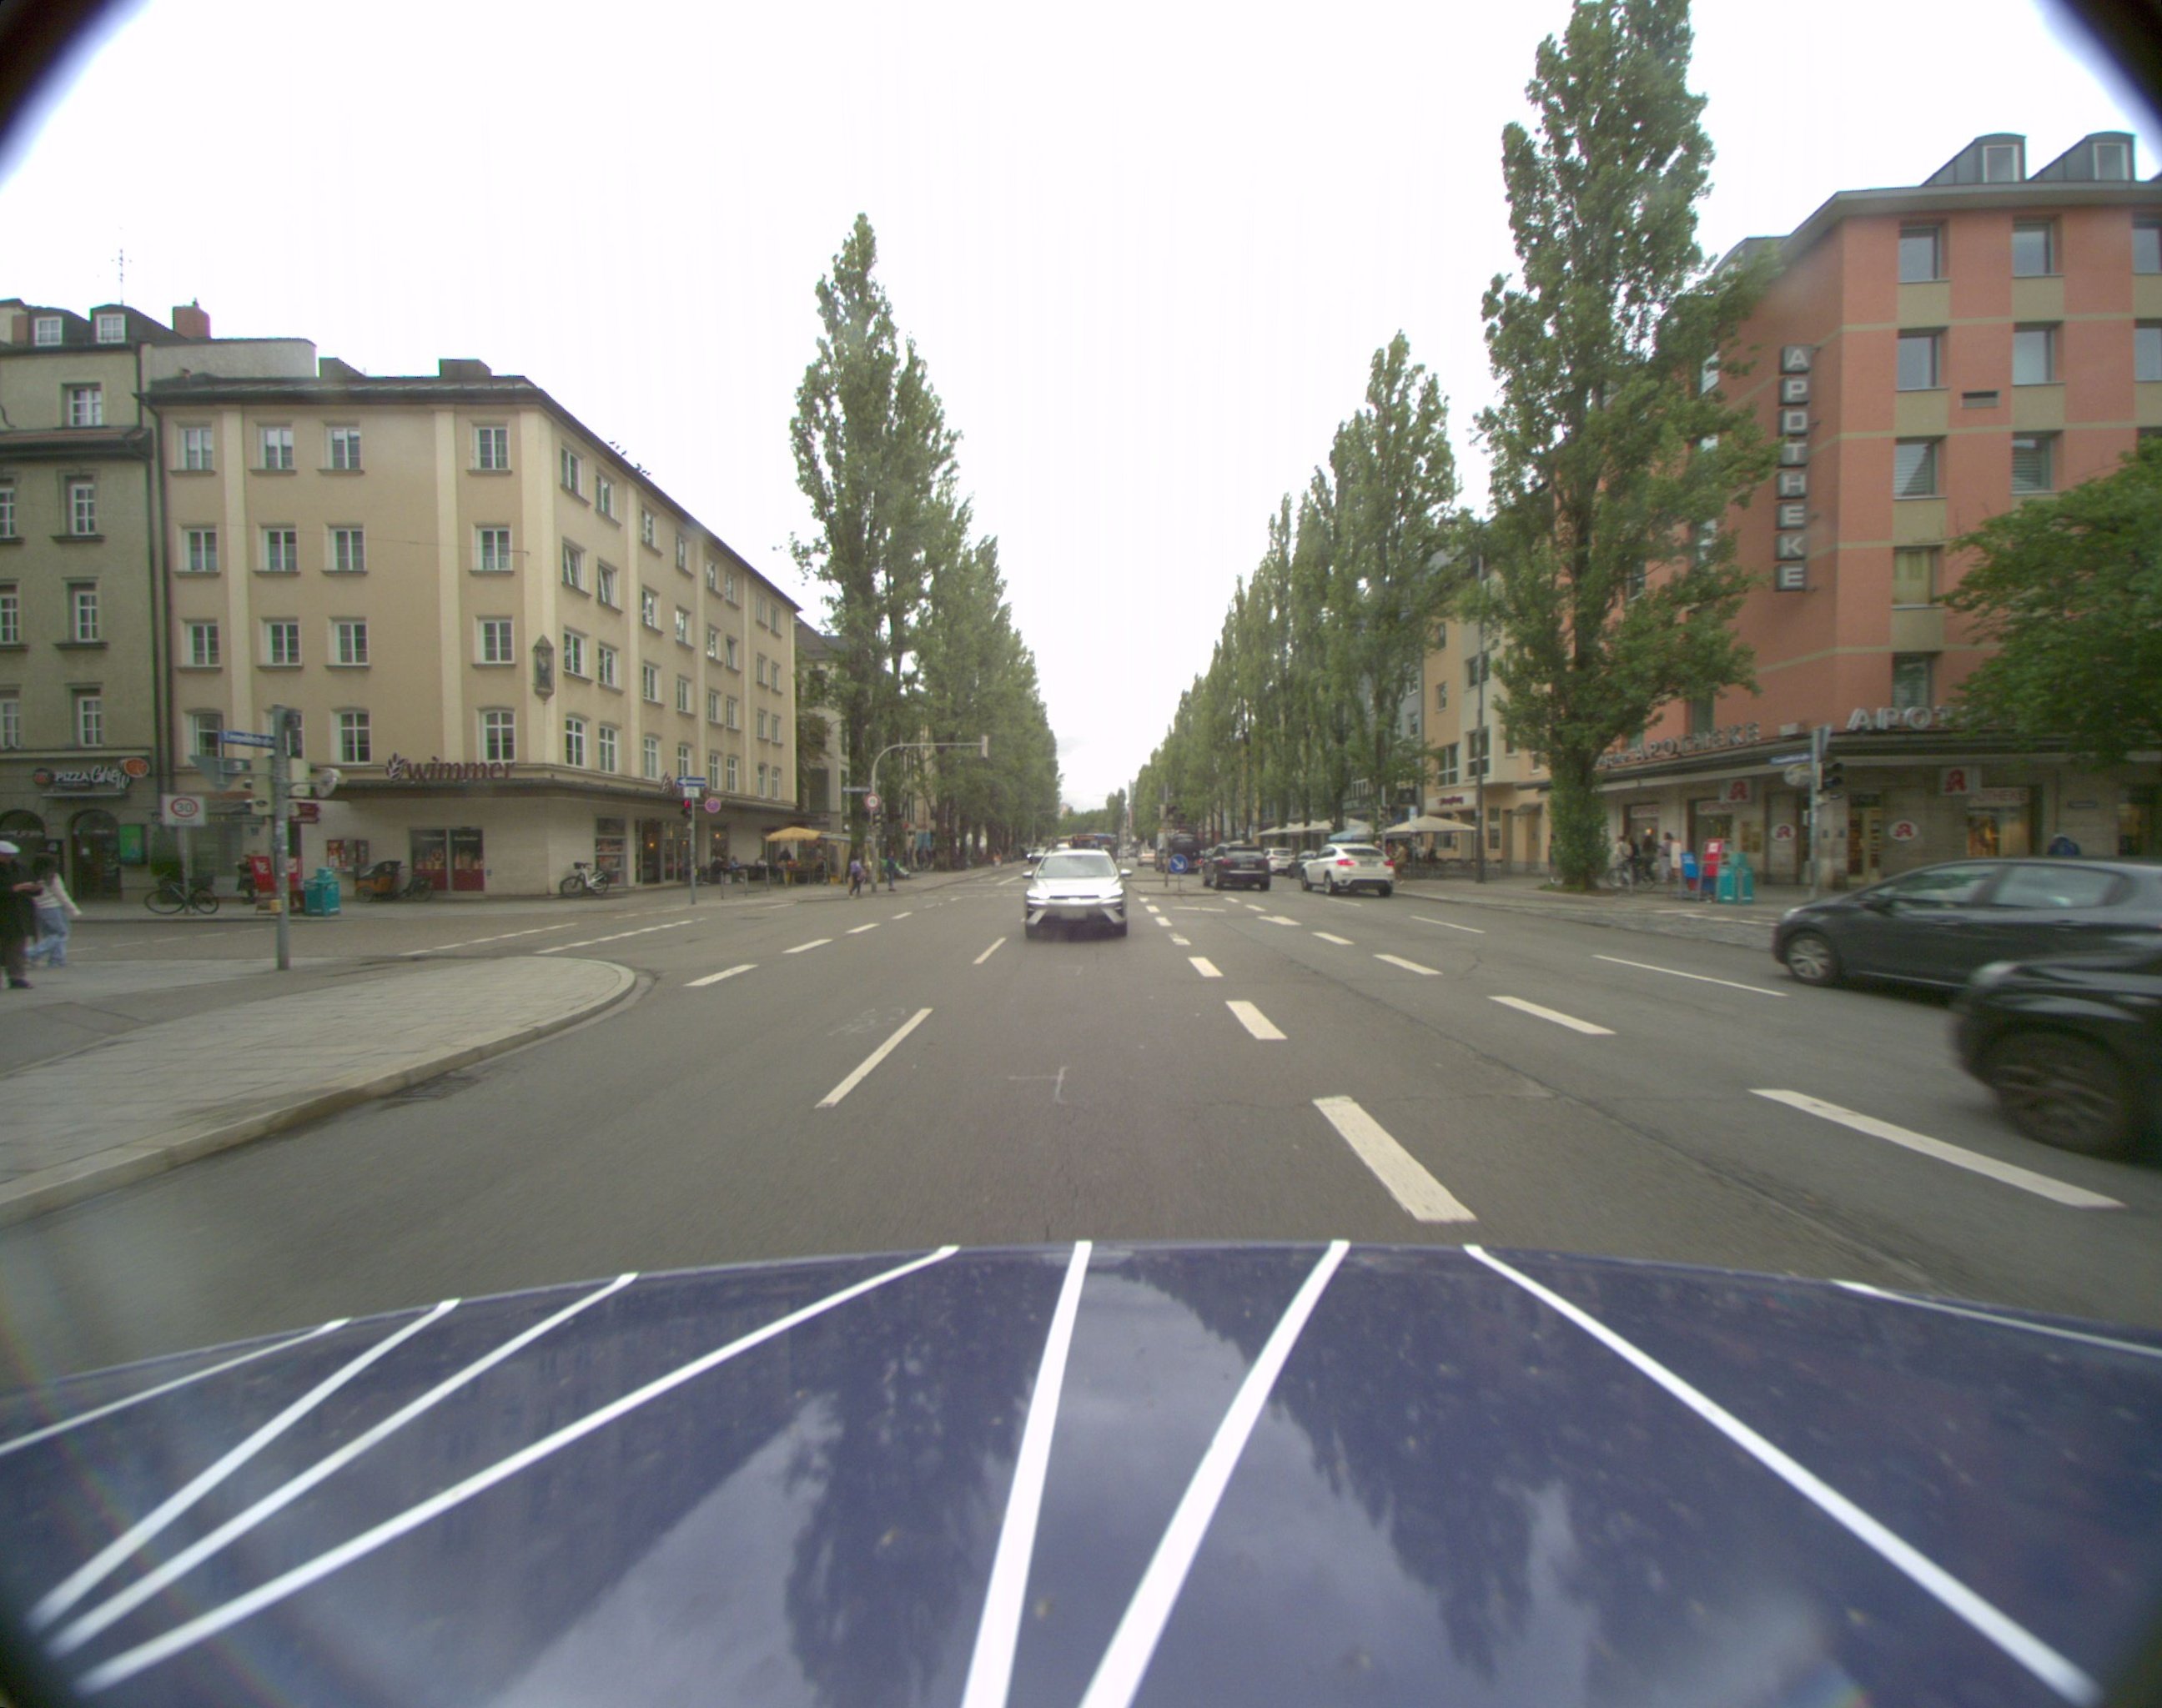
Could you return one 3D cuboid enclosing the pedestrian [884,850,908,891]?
[{"bbox_3d":[-7.317,0.628,30.131,0.767,1.600,0.864,-1,1,-3],"label":"pedestrian"}]

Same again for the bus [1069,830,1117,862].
[{"bbox_3d":[1.402,-0.778,73.798,2.804,2.887,12.865,0,1,9],"label":"bus"}]

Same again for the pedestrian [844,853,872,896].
[{"bbox_3d":[-8.054,0.721,27.458,0.766,1.509,0.620,2,4,45],"label":"pedestrian"}]

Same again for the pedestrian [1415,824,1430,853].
[{"bbox_3d":[19.930,-0.900,44.365,0.556,1.629,0.692,-1,1,0],"label":"pedestrian"}]

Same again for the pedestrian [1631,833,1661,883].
[{"bbox_3d":[19.479,0.135,26.185,0.631,1.679,0.519,-2,2,2],"label":"pedestrian"}]

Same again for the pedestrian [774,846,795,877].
[{"bbox_3d":[-15.517,0.380,39.749,0.777,1.580,0.699,-1,1,1],"label":"pedestrian"}]

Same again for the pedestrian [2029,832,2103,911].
[{"bbox_3d":[22.561,0.396,17.418,0.780,1.757,0.692,-1,1,1],"label":"pedestrian"}]

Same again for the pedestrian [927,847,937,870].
[{"bbox_3d":[-12.922,0.405,65.850,0.658,1.960,0.722,0,1,3],"label":"pedestrian"}]

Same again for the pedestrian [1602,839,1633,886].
[{"bbox_3d":[18.217,0.278,25.821,0.658,1.574,0.548,-1,1,2],"label":"pedestrian"}]

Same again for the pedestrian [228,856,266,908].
[{"bbox_3d":[-25.656,0.850,23.382,0.584,1.549,0.445,-2,2,2],"label":"pedestrian"}]

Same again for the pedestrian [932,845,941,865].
[{"bbox_3d":[-13.121,0.108,68.957,0.658,1.774,0.674,-1,1,2],"label":"pedestrian"}]

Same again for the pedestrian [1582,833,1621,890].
[{"bbox_3d":[16.553,0.223,24.169,0.726,1.761,0.778,-1,1,2],"label":"pedestrian"}]

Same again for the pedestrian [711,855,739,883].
[{"bbox_3d":[-16.330,0.679,34.847,0.870,1.192,0.699,3,1,1],"label":"pedestrian"}]

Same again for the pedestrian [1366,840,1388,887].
[{"bbox_3d":[11.590,0.370,29.782,0.736,1.785,0.993,-2,2,19],"label":"pedestrian"}]

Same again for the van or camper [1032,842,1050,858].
[{"bbox_3d":[-4.845,-0.481,91.731,1.795,1.894,4.565,-1,1,1],"label":"van or camper"}]

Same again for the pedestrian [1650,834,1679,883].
[{"bbox_3d":[20.156,0.142,26.260,0.588,1.681,0.514,0,1,0],"label":"pedestrian"}]

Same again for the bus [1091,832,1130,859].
[{"bbox_3d":[3.538,-0.990,86.497,2.804,2.887,12.865,0,1,9],"label":"bus"}]

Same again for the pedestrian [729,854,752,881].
[{"bbox_3d":[-16.348,0.633,36.502,0.777,1.257,0.699,-1,1,1],"label":"pedestrian"}]

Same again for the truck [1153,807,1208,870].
[{"bbox_3d":[6.203,-0.957,48.515,2.469,3.649,8.437,-1,1,0],"label":"truck"}]

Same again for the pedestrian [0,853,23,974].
[{"bbox_3d":[-16.048,0.870,10.869,0.752,1.748,0.711,-1,1,2],"label":"pedestrian"}]

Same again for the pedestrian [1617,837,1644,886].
[{"bbox_3d":[18.939,0.246,26.192,0.508,1.661,0.626,-1,1,2],"label":"pedestrian"}]

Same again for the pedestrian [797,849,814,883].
[{"bbox_3d":[-13.261,0.572,36.568,0.541,1.664,0.537,-1,1,7],"label":"pedestrian"}]

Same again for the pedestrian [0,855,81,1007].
[{"bbox_3d":[-12.909,0.900,9.130,0.710,1.748,0.752,-1,1,2],"label":"pedestrian"}]

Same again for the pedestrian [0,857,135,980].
[{"bbox_3d":[-15.237,0.931,11.407,0.752,1.748,1.017,-1,1,2],"label":"pedestrian"}]

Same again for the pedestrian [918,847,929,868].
[{"bbox_3d":[-13.631,0.293,65.766,0.658,1.840,0.906,-1,1,2],"label":"pedestrian"}]

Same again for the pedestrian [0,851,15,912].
[{"bbox_3d":[-32.087,0.821,22.186,1.001,1.758,0.676,-2,2,9],"label":"pedestrian"}]

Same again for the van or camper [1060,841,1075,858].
[{"bbox_3d":[-2.038,-0.664,114.992,1.998,2.470,6.645,-2,-1,1],"label":"van or camper"}]

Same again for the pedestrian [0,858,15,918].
[{"bbox_3d":[-29.931,0.947,20.838,0.444,1.635,0.584,-2,2,10],"label":"pedestrian"}]

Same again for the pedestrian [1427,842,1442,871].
[{"bbox_3d":[20.579,0.148,44.229,0.556,1.708,0.692,-1,1,0],"label":"pedestrian"}]

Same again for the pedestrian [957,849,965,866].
[{"bbox_3d":[-12.312,0.343,78.068,0.566,1.732,0.697,-1,1,3],"label":"pedestrian"}]
